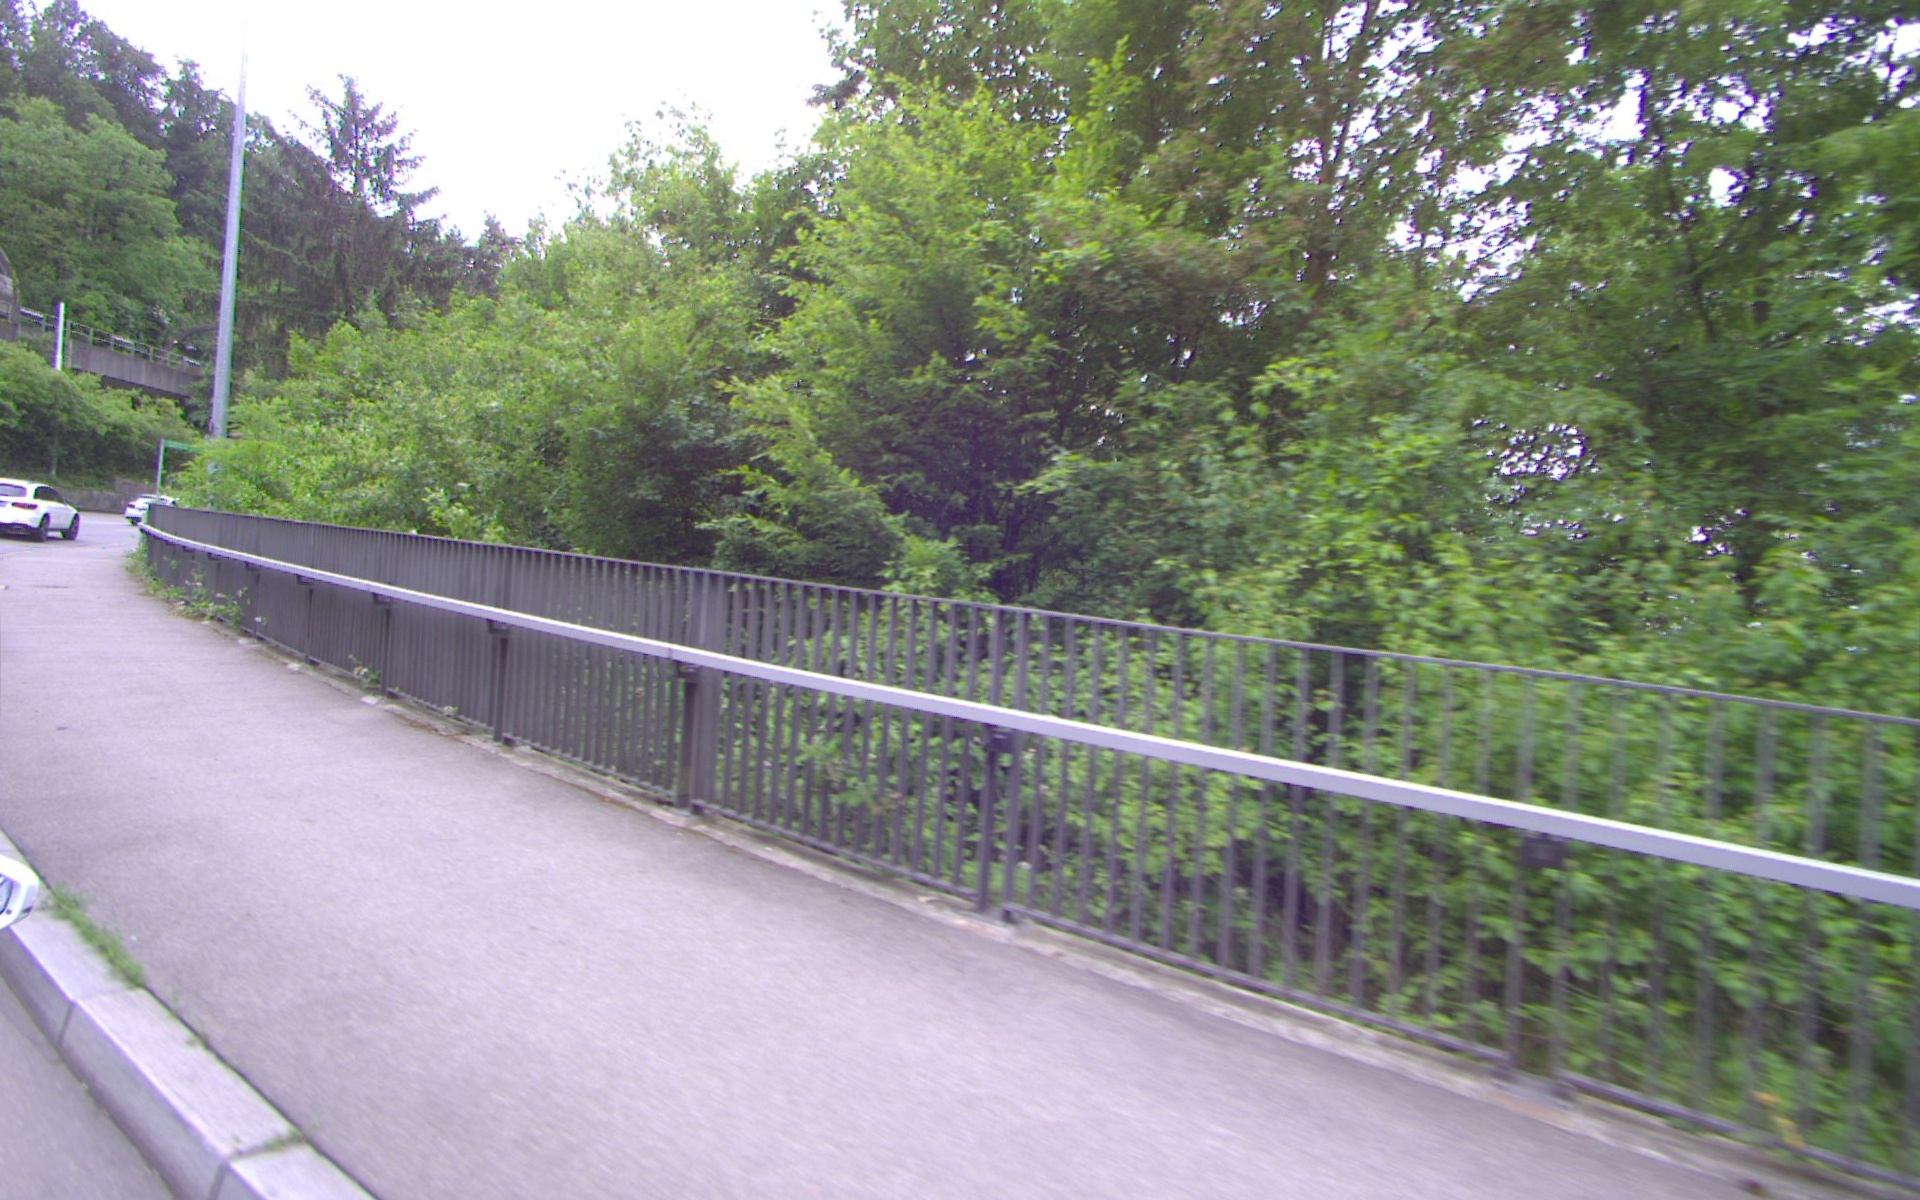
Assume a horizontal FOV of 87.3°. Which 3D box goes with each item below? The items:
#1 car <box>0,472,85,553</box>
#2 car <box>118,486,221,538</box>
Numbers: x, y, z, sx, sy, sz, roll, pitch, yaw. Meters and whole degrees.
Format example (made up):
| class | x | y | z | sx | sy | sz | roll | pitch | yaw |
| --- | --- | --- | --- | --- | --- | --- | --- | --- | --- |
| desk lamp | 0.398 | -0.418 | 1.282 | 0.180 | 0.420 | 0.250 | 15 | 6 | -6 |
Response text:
| class | x | y | z | sx | sy | sz | roll | pitch | yaw |
| --- | --- | --- | --- | --- | --- | --- | --- | --- | --- |
| car | -27.348 | -2.567 | 29.171 | 1.979 | 1.862 | 4.123 | 9 | -5 | -29 |
| car | -36.253 | -3.972 | 46.280 | 1.717 | 1.535 | 4.309 | 7 | -4 | -9 |
